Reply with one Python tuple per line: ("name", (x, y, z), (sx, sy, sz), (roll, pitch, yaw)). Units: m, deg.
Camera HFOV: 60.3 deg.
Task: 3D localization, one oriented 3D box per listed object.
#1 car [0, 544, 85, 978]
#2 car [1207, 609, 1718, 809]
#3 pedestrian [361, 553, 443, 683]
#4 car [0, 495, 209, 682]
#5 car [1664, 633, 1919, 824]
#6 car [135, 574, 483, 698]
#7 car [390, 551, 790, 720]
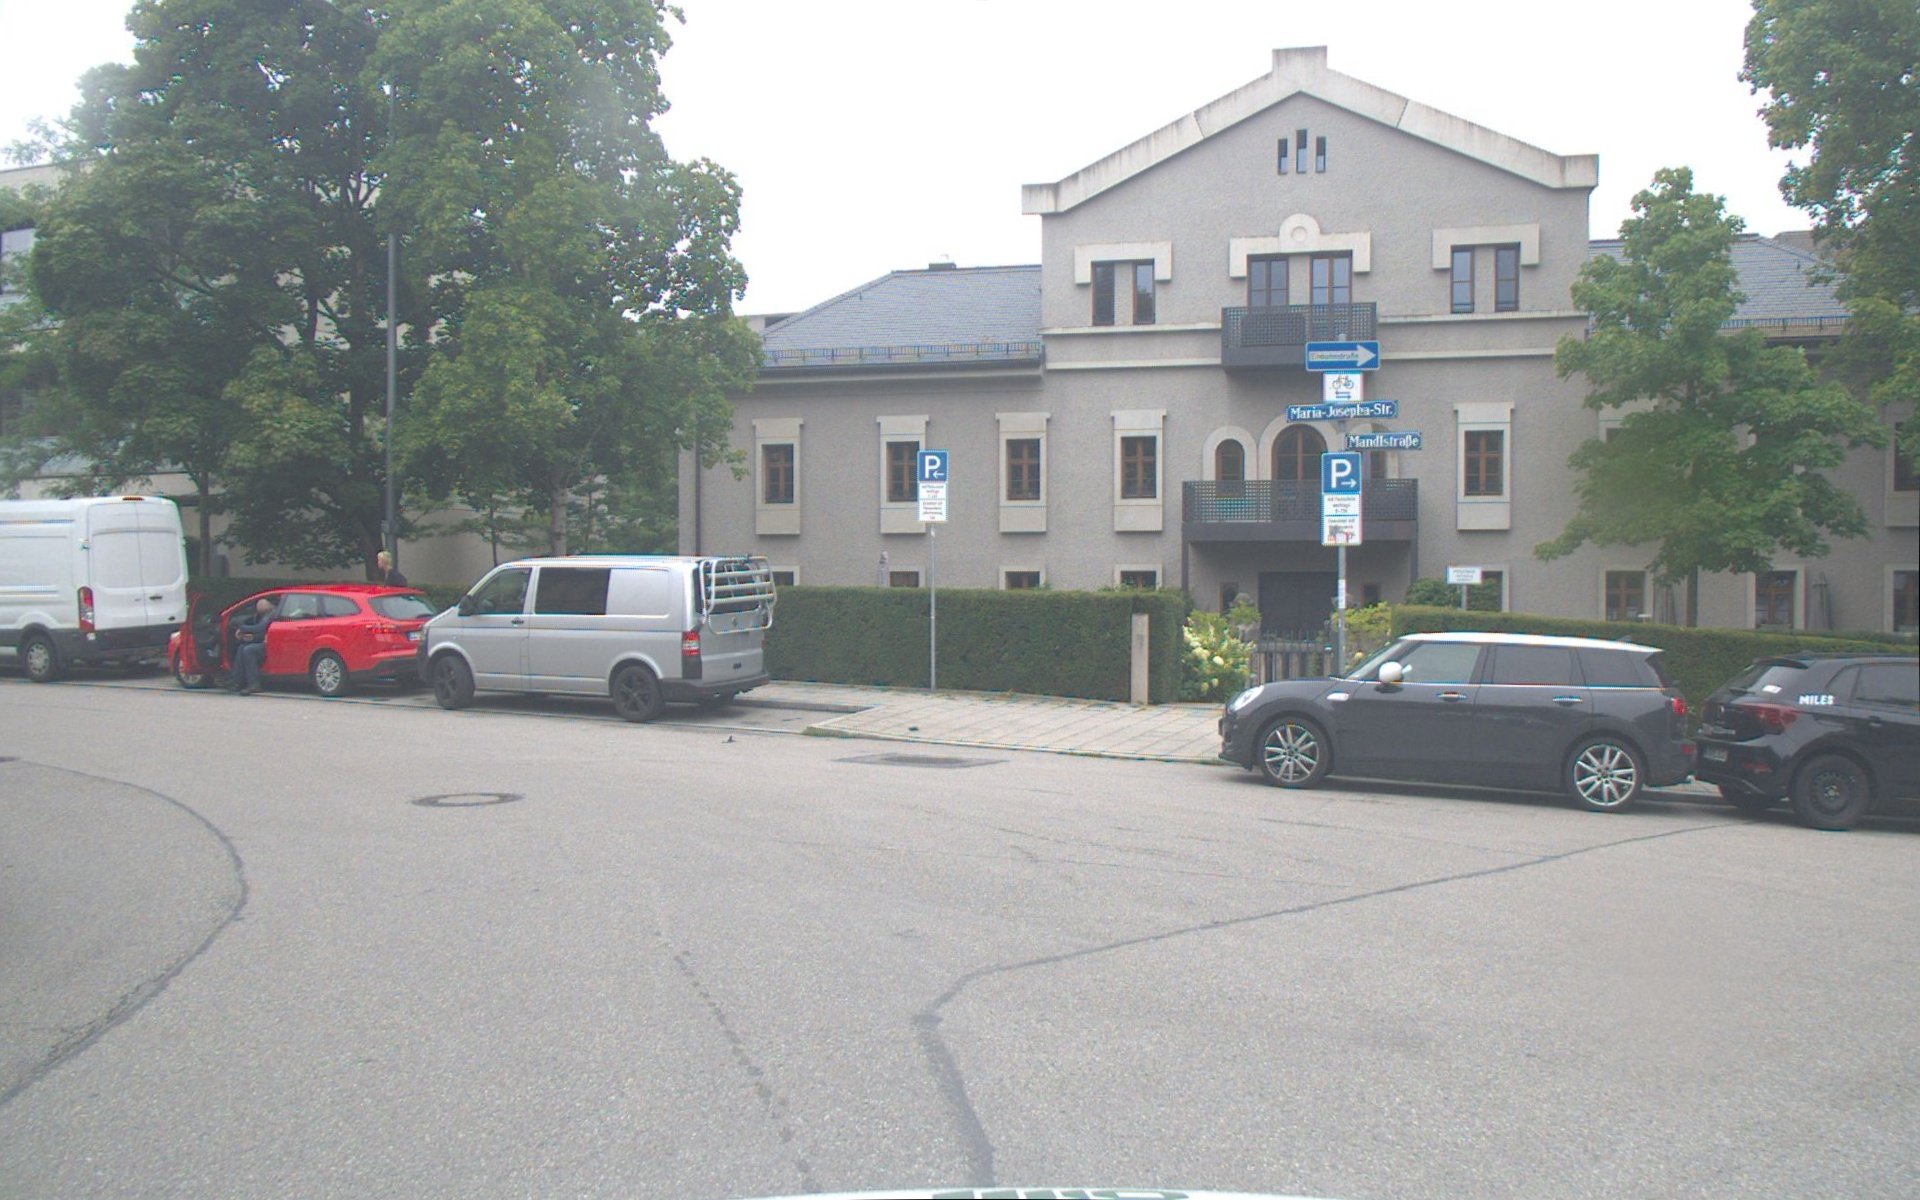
("car", (-5.768, 0.688, 7.637), (1.985, 1.722, 4.265), (-2, 0, -43))
("car", (4.515, 0.928, 15.134), (4.166, 1.472, 1.898), (2, -1, 18))
("pedestrian", (-8.534, 0.267, 25.289), (0.846, 1.937, 0.796), (1, 0, 31))
("car", (-15.002, -0.277, 26.299), (5.945, 2.733, 2.086), (1, 3, 23))
("car", (8.440, 1.126, 14.253), (3.918, 1.472, 1.898), (3, -1, 4))
("car", (-9.414, 0.454, 23.915), (4.724, 1.532, 1.877), (1, 3, 23))
("car", (-4.852, 0.362, 21.588), (4.956, 1.937, 1.940), (1, 3, 26))
